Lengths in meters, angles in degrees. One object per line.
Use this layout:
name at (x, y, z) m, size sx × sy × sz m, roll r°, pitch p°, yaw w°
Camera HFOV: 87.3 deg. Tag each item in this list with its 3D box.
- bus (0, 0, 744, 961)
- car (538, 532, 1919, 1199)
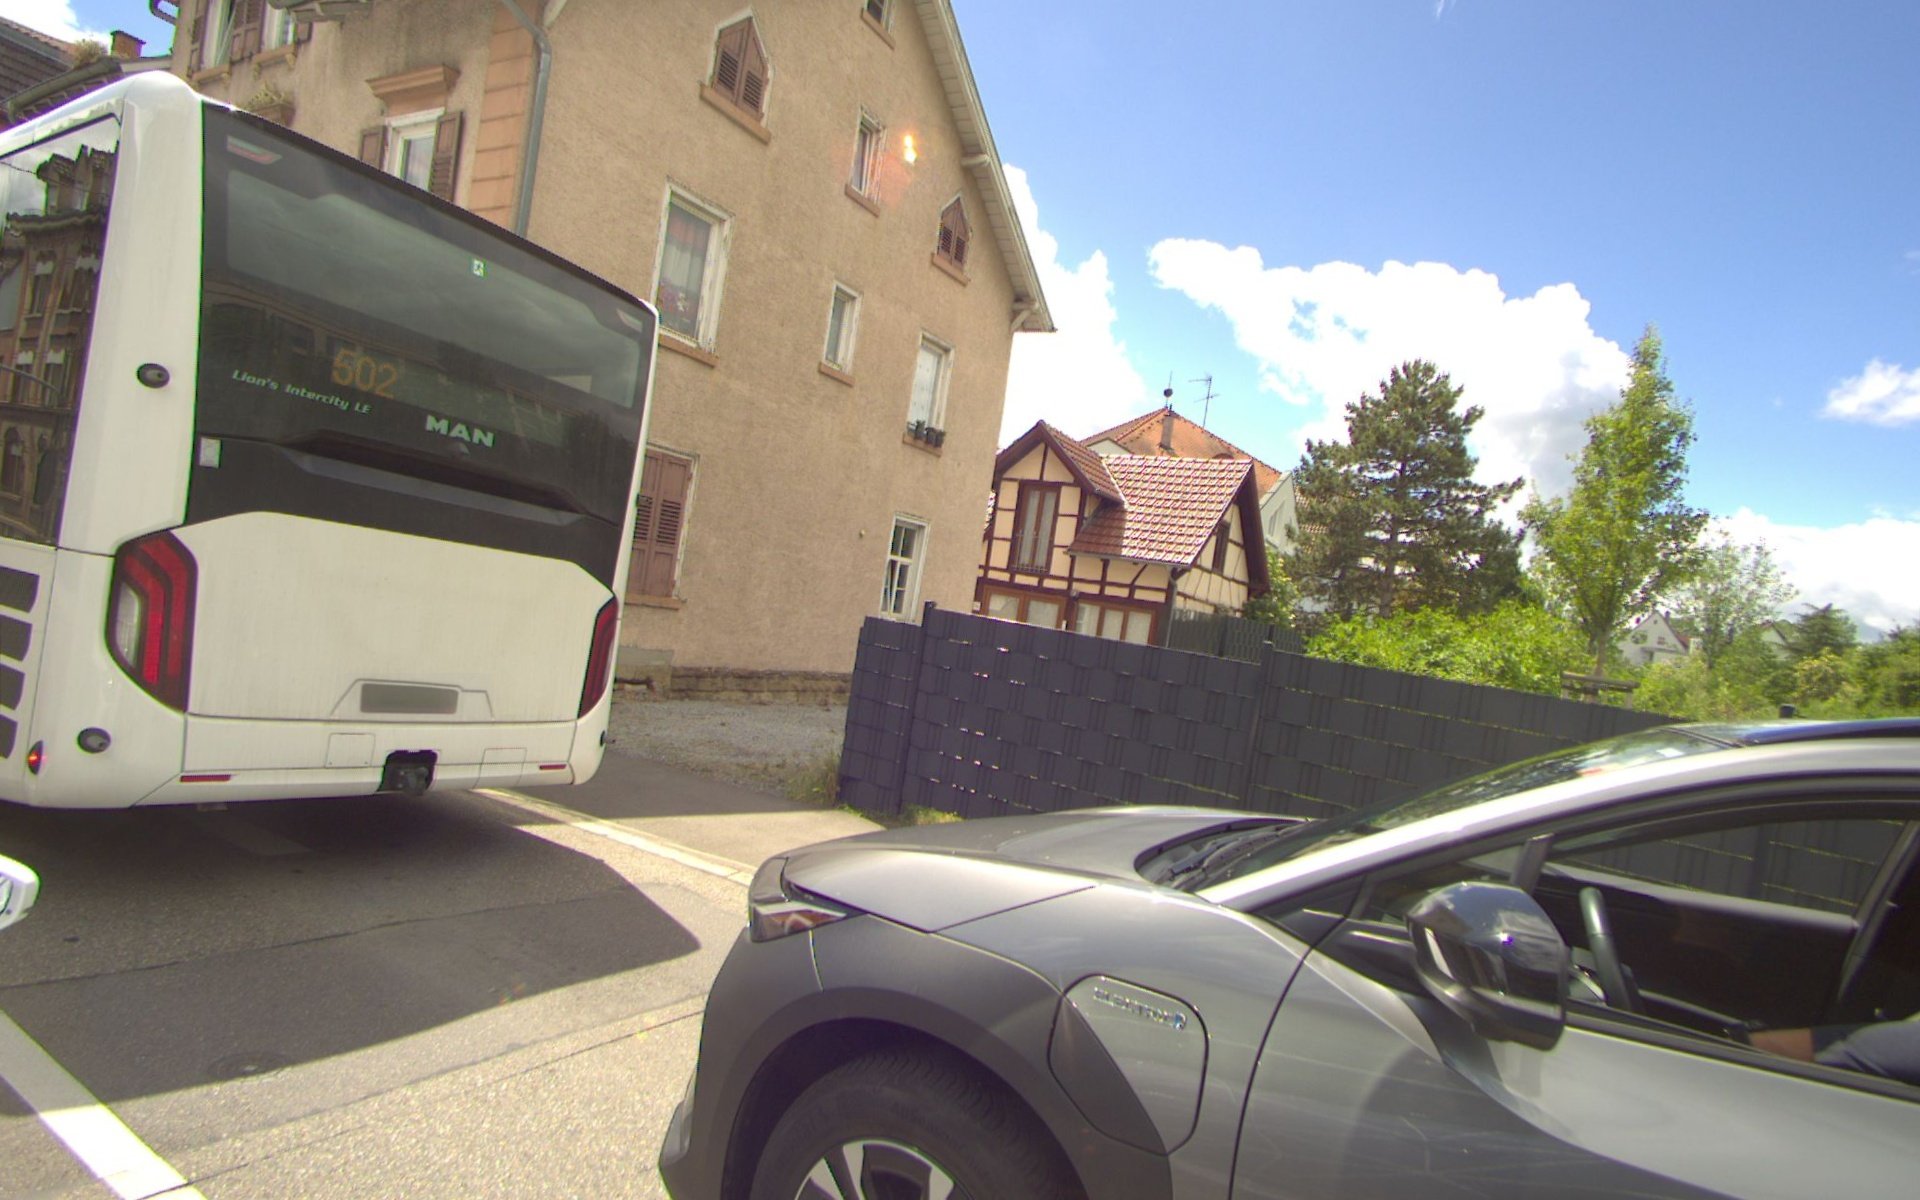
bus at (-7.395, -0.987, 7.812) m, size 12.281 × 3.551 × 2.910 m, roll 6°, pitch -2°, yaw 32°
car at (1.577, 0.981, 1.863) m, size 4.504 × 1.648 × 1.997 m, roll 7°, pitch -1°, yaw 31°
